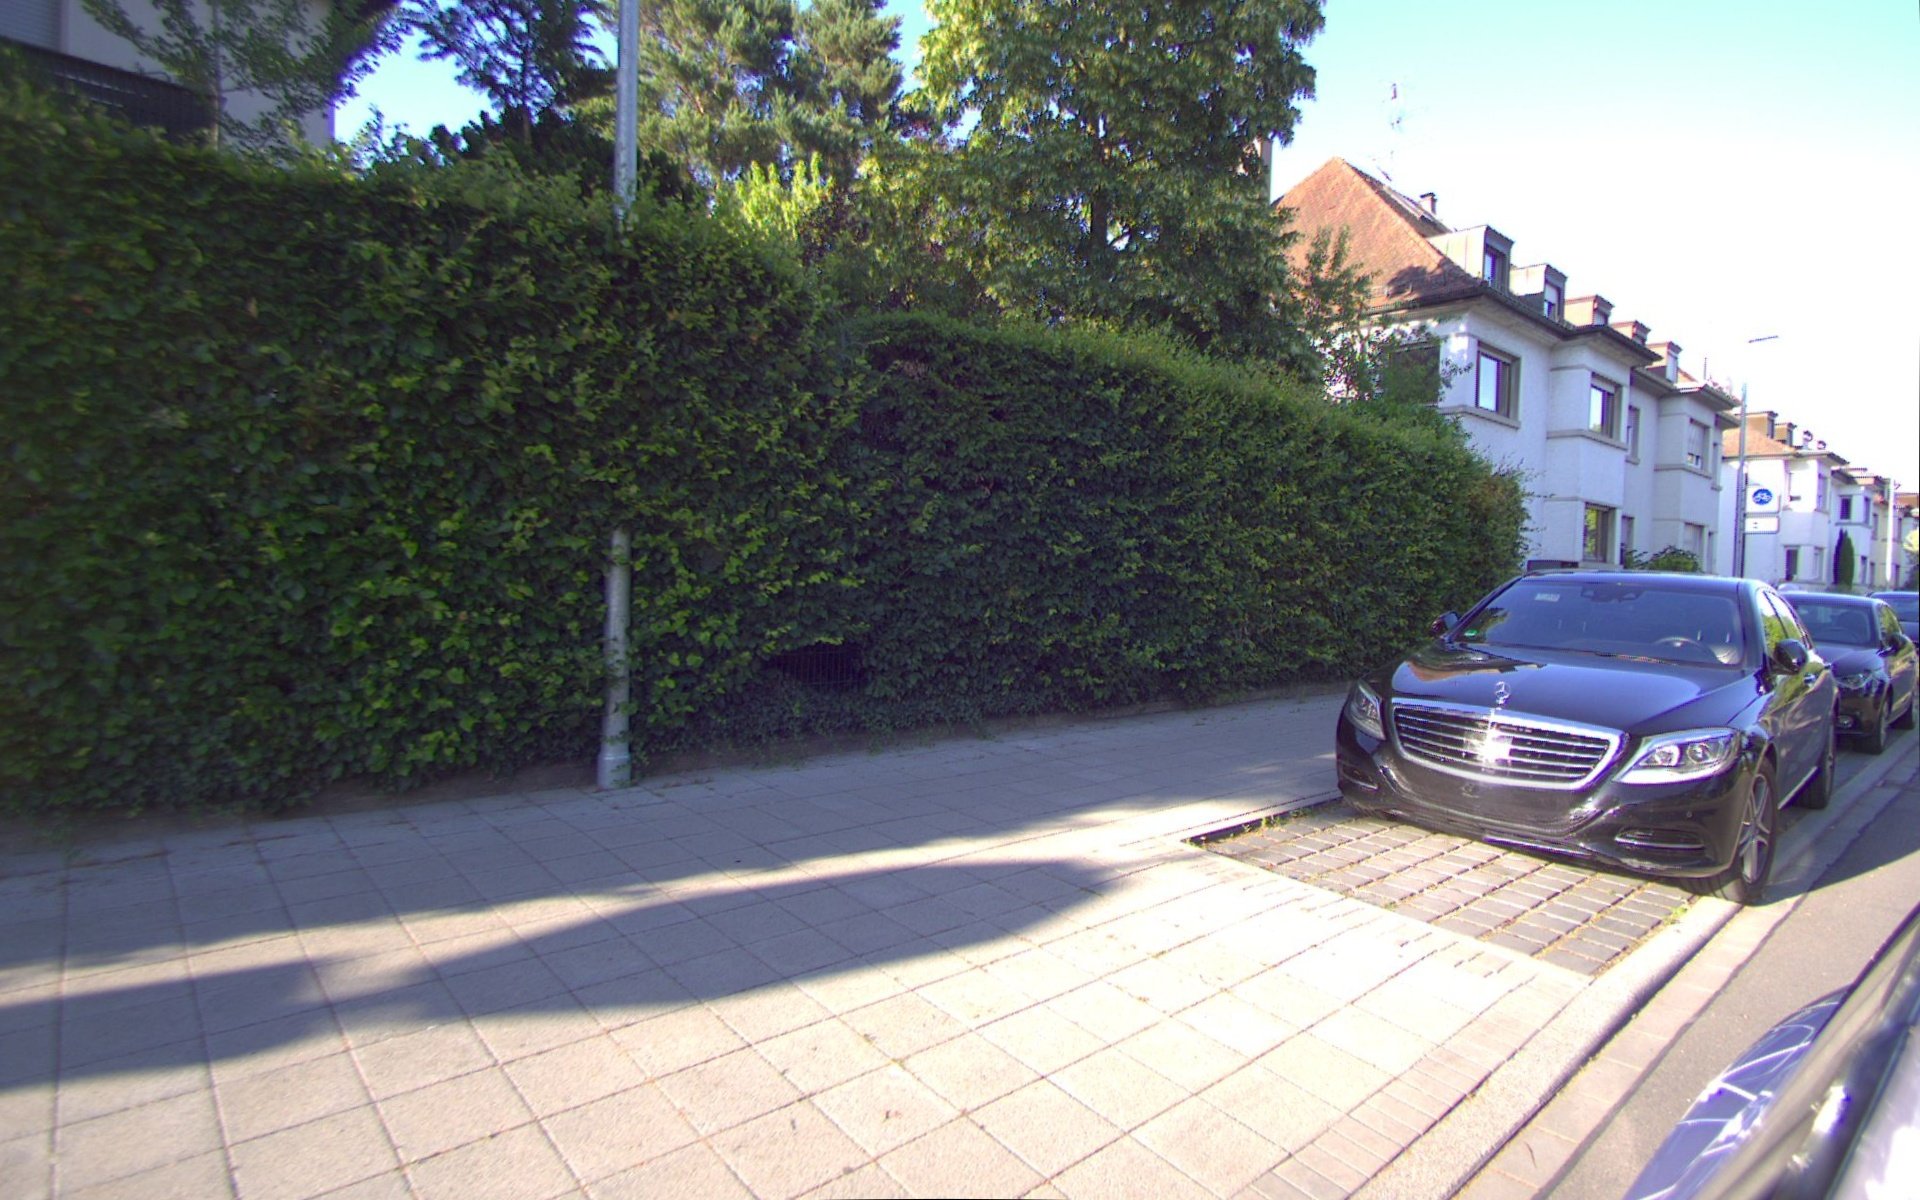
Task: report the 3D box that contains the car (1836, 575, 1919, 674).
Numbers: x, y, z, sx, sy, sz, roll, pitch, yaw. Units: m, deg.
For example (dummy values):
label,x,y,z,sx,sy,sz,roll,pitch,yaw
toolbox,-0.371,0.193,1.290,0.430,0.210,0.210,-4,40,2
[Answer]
label,x,y,z,sx,sy,sz,roll,pitch,yaw
car,17.068,0.401,18.004,4.007,1.616,1.794,0,0,-42

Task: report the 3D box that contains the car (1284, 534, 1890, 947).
label,x,y,z,sx,sy,sz,roll,pitch,yaw
car,4.138,0.465,6.227,4.835,1.516,2.006,-1,4,-44

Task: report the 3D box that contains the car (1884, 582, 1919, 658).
label,x,y,z,sx,sy,sz,roll,pitch,yaw
car,21.093,0.417,21.556,3.409,1.554,1.679,0,0,-40

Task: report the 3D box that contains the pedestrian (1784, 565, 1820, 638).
label,x,y,z,sx,sy,sz,roll,pitch,yaw
pedestrian,22.140,0.024,26.604,0.809,1.869,0.587,-1,1,-40

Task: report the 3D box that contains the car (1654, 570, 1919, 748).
label,x,y,z,sx,sy,sz,roll,pitch,yaw
car,8.784,0.486,10.499,3.932,1.496,1.782,0,0,-42
